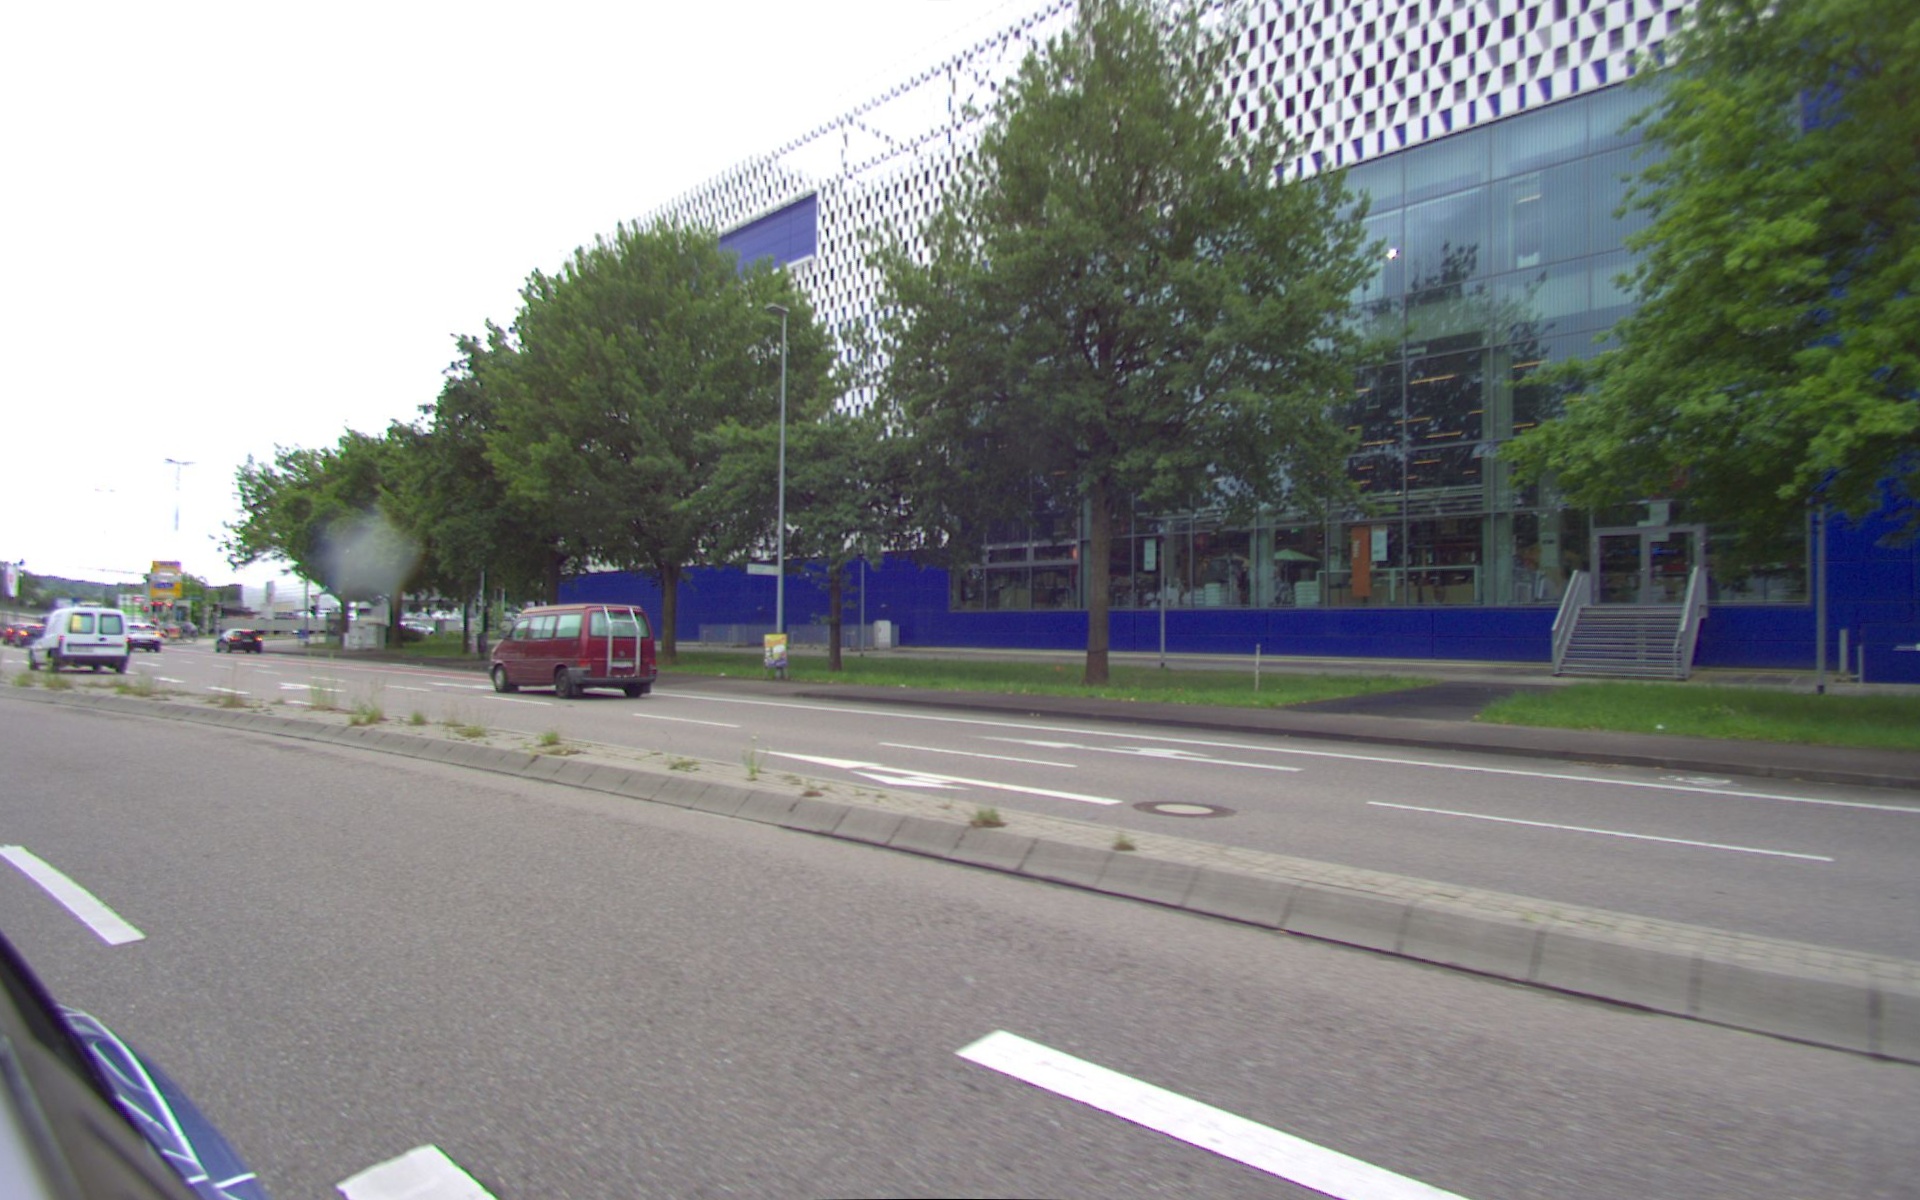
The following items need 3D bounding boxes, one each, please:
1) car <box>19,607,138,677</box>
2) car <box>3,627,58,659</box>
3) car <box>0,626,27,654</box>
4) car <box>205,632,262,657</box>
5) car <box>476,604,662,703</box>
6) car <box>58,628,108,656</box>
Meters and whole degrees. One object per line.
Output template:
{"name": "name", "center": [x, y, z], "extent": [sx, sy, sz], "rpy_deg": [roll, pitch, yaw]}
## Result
{"name": "car", "center": [-24.577, 1.175, 28.192], "extent": [3.974, 1.812, 1.631], "rpy_deg": [-2, -4, 37]}
{"name": "car", "center": [-55.990, 2.600, 60.956], "extent": [3.974, 1.812, 1.631], "rpy_deg": [-2, -5, 37]}
{"name": "car", "center": [-63.285, 2.653, 66.871], "extent": [3.974, 1.812, 1.631], "rpy_deg": [-2, -5, 37]}
{"name": "car", "center": [-43.756, 2.682, 60.949], "extent": [3.974, 1.401, 1.631], "rpy_deg": [-2, -5, 37]}
{"name": "car", "center": [-8.619, 1.136, 22.089], "extent": [4.908, 1.939, 1.748], "rpy_deg": [-2, -4, 42]}
{"name": "car", "center": [-58.922, 2.818, 67.990], "extent": [3.974, 1.812, 1.631], "rpy_deg": [-2, -5, 37]}
